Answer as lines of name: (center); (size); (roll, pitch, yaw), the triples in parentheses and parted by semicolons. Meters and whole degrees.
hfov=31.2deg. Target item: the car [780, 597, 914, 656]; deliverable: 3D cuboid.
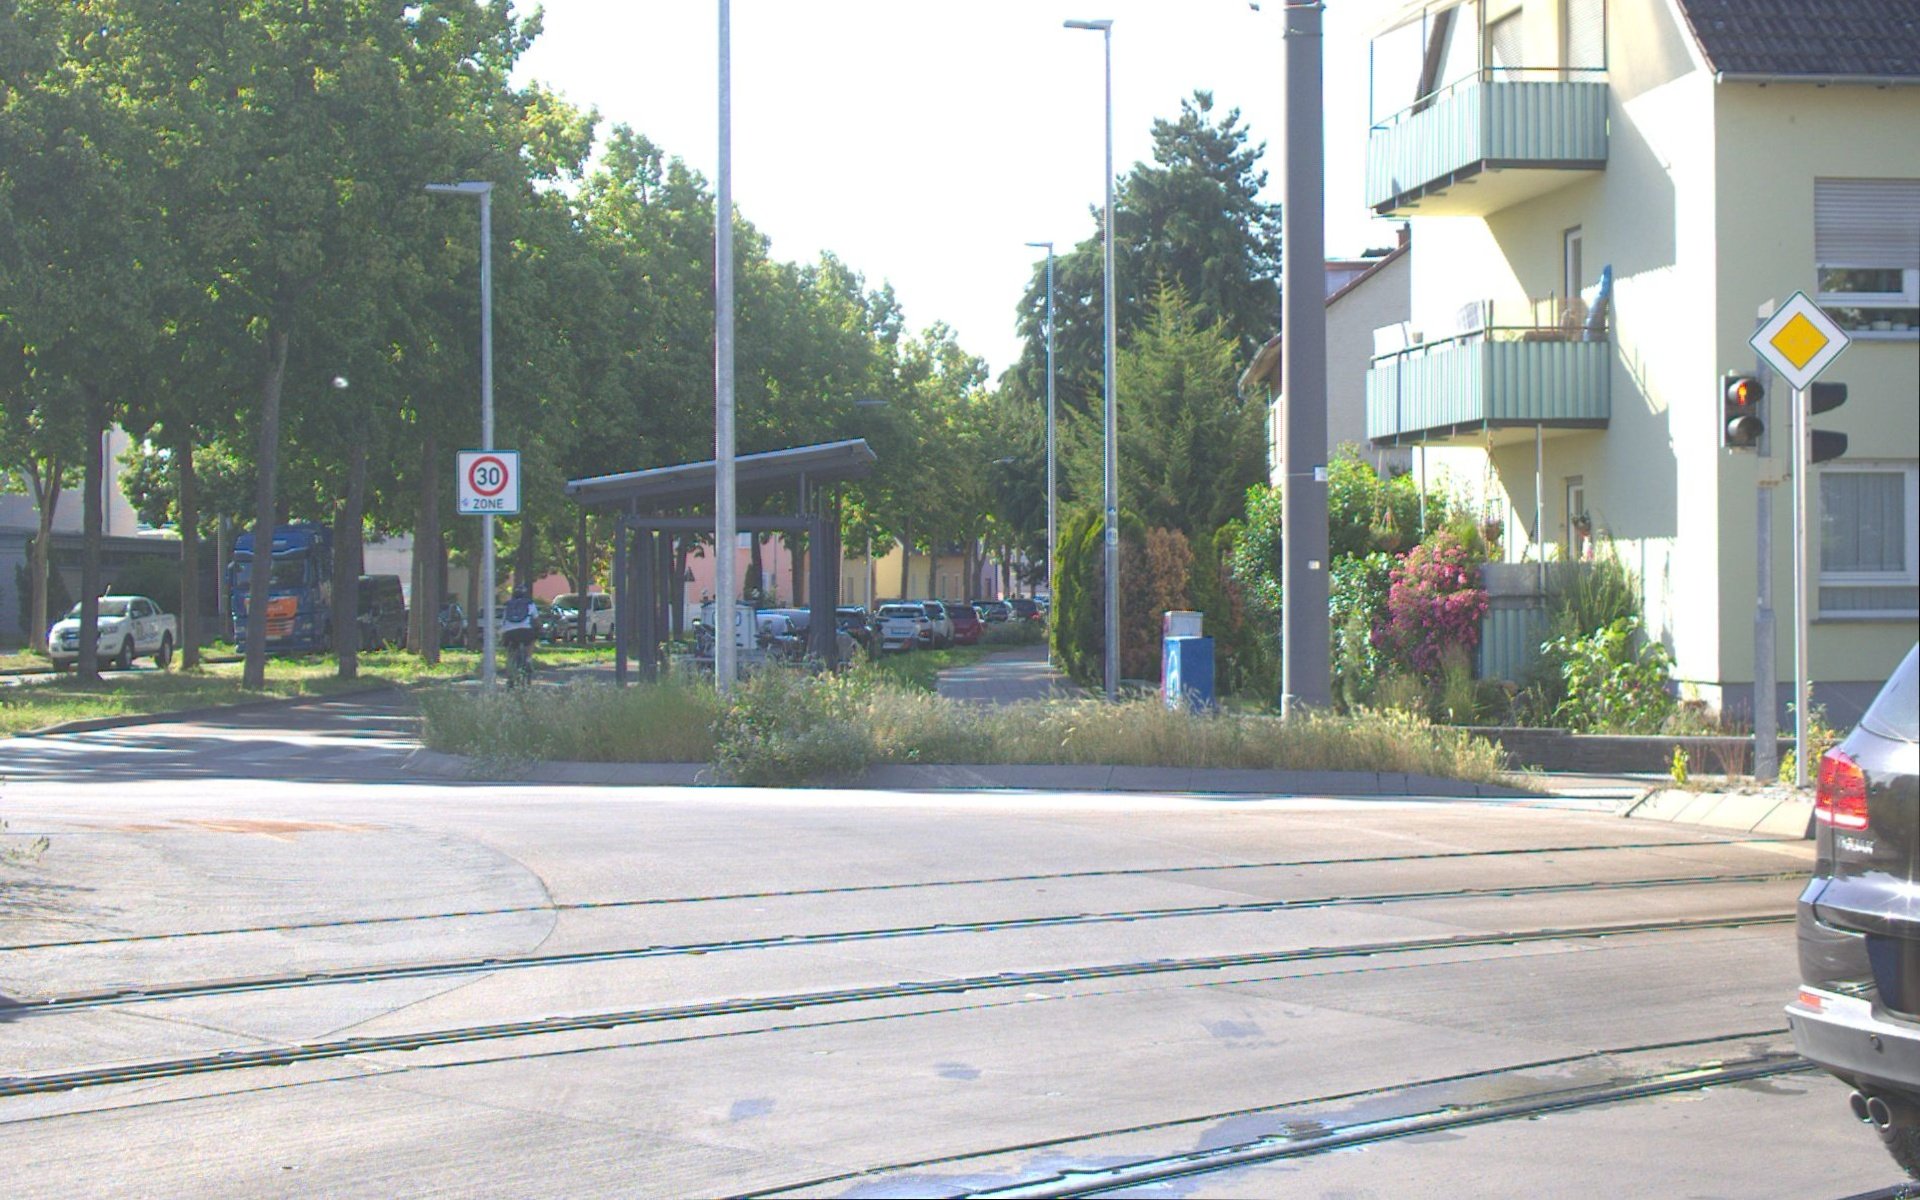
car: (-2.985, 0.702, 90.943); (3.412, 1.528, 1.525); (0, 0, 4)

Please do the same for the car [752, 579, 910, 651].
car: (-2.921, 0.340, 78.377); (3.516, 1.528, 1.577); (1, 0, 0)

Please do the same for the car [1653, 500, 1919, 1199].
car: (3.860, 0.624, 7.888); (4.243, 1.665, 1.818); (-1, 2, -28)

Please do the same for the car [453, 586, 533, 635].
car: (-16.819, 0.378, 123.987); (1.994, 1.694, 4.217); (1, 0, 4)

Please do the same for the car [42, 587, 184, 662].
car: (-20.965, 0.595, 85.331); (1.994, 1.767, 5.059); (1, 0, 3)

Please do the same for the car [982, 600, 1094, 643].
car: (2.507, 0.678, 111.040); (3.516, 1.291, 1.577); (1, 0, -1)

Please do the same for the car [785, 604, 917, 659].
car: (-2.926, 0.843, 92.860); (3.441, 1.389, 1.237); (1, 0, 4)

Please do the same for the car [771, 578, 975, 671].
car: (-1.520, 0.429, 60.830); (3.516, 1.528, 1.577); (1, 0, 0)

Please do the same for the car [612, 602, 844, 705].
car: (-3.651, 0.835, 54.477); (3.516, 1.528, 1.577); (1, 0, 0)

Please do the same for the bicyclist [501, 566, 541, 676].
bicyclist: (-6.920, 0.331, 54.194); (0.603, 1.708, 0.544); (0, -4, -8)

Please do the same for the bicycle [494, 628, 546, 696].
bicycle: (-6.890, 0.974, 53.815); (0.766, 1.033, 1.534); (1, -1, -8)

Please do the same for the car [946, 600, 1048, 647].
car: (1.301, 0.818, 120.929); (3.516, 1.528, 1.577); (1, 0, -1)

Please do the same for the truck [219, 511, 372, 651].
truck: (-19.870, -0.581, 103.204); (3.069, 3.979, 8.009); (1, 0, -1)

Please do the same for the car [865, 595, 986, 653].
car: (-0.977, 0.664, 96.744); (3.359, 1.528, 1.523); (1, 0, -1)

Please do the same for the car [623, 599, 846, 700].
car: (-3.661, 0.799, 56.227); (3.516, 1.528, 1.577); (1, 0, 0)

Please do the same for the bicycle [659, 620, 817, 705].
bicycle: (-2.831, 0.794, 43.801); (1.973, 1.024, 0.689); (1, 0, -4)

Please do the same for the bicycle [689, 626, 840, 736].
bicycle: (-2.232, 0.917, 39.172); (1.665, 1.204, 0.689); (1, 0, -4)

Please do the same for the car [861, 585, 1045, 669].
car: (-0.134, 0.520, 66.857); (3.516, 1.528, 1.577); (1, 0, 0)

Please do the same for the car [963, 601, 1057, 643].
car: (1.894, 0.843, 131.567); (3.516, 1.528, 1.577); (1, 0, -1)

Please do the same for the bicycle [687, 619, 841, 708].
bicycle: (-2.391, 0.774, 41.965); (1.840, 1.024, 0.689); (1, 0, -4)

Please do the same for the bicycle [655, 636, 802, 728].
bicycle: (-2.726, 0.960, 40.433); (1.689, 1.024, 0.599); (1, 0, -4)

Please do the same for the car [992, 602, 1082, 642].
car: (3.076, 0.879, 137.822); (3.516, 1.528, 1.577); (1, 0, -1)

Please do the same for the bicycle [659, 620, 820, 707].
bicycle: (-2.749, 0.793, 42.851); (1.973, 1.024, 0.696); (1, 0, -4)

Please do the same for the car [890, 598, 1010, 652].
car: (-0.304, 0.730, 101.493); (3.479, 1.488, 1.552); (1, 0, -1)

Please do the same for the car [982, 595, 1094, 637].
car: (2.498, 0.506, 110.991); (3.516, 1.275, 1.577); (1, 0, -1)
